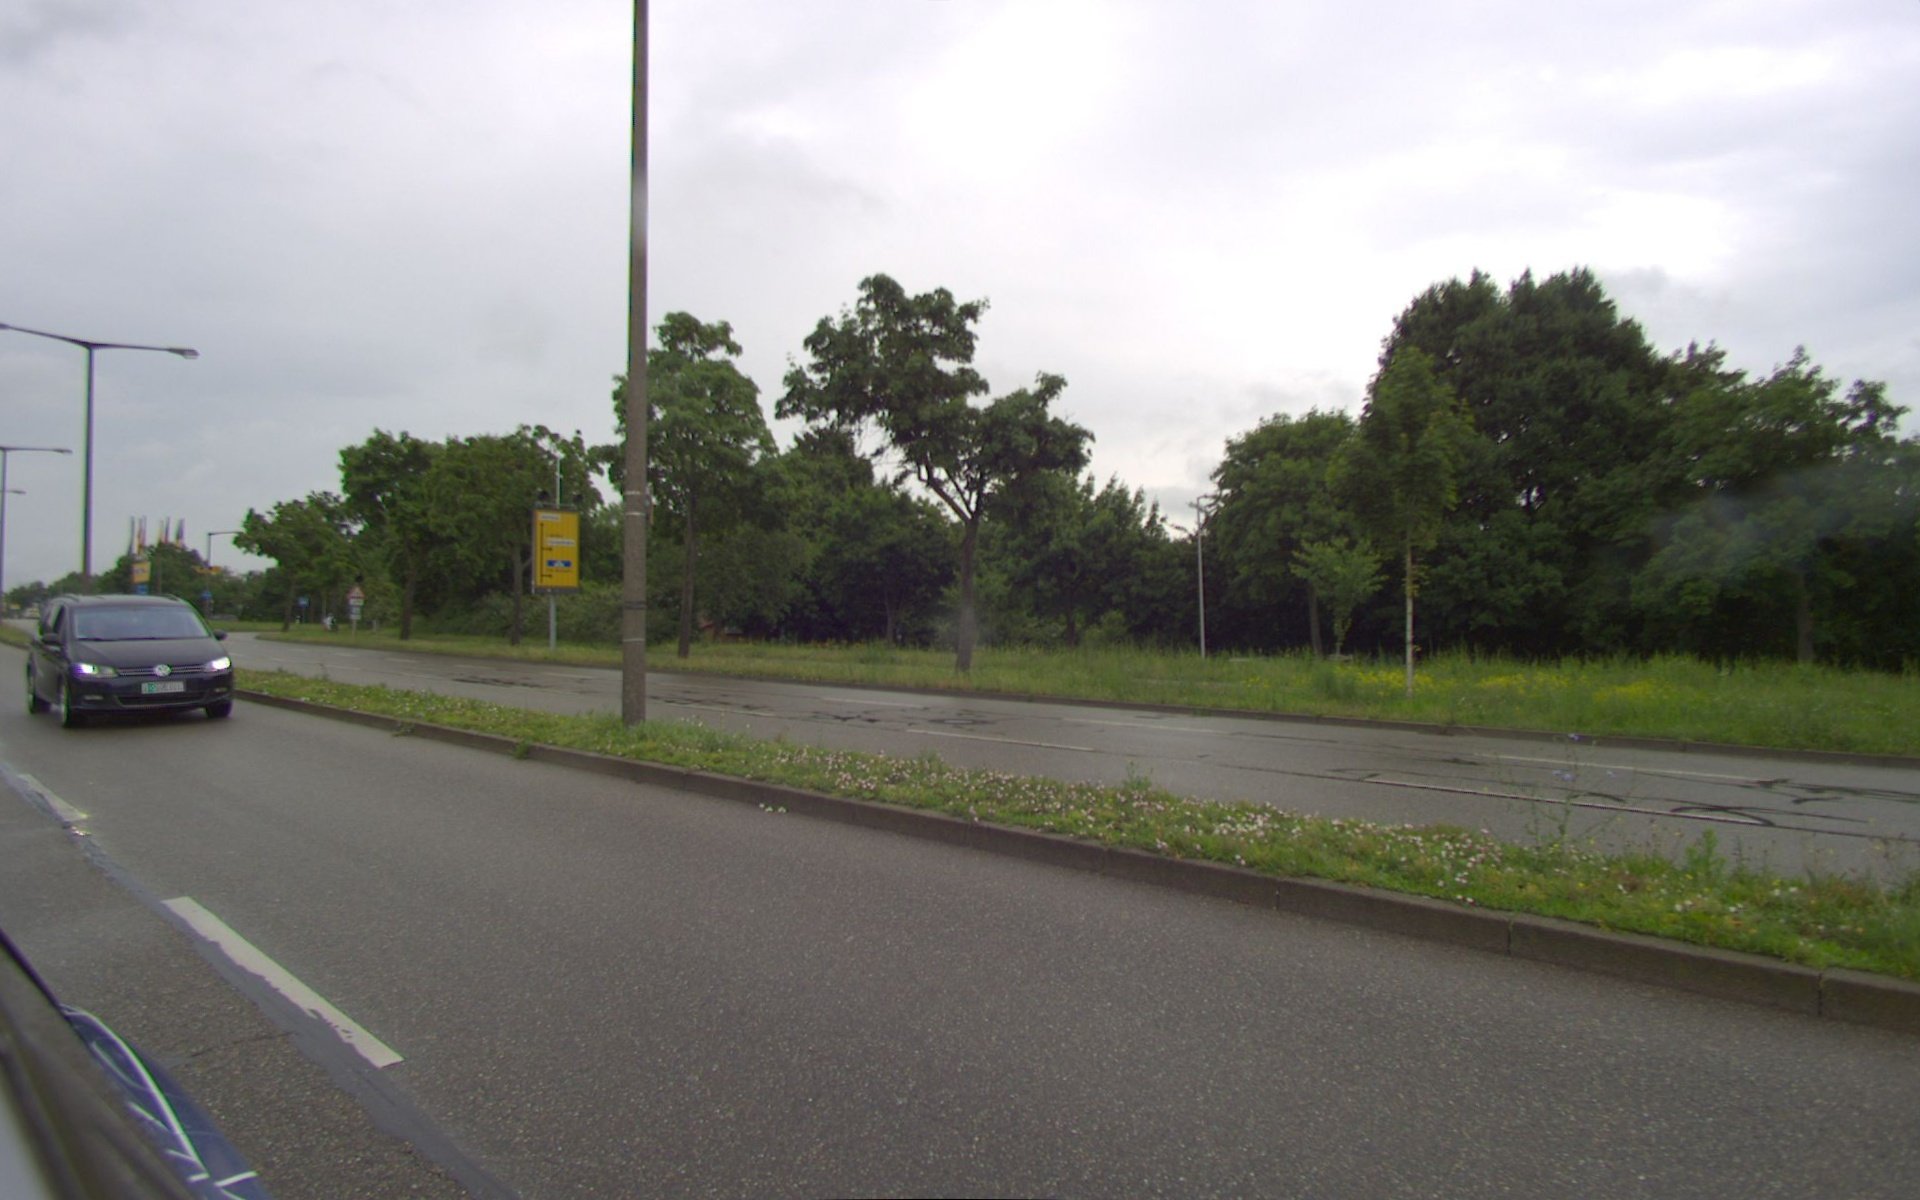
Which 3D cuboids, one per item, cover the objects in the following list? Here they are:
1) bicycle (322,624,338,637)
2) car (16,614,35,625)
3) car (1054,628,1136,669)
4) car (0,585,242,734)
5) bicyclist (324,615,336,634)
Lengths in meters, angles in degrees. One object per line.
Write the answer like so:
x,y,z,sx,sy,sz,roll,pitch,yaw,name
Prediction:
-43.205,2.071,69.401,1.634,0.892,0.516,0,-1,43,bicycle
-145.359,3.042,157.435,4.492,1.642,1.688,-3,-5,43,car
6.020,2.099,44.731,1.996,1.698,3.952,-1,-2,35,car
-11.945,0.763,14.277,4.814,1.764,1.827,-1,-2,40,car
-43.204,1.686,69.400,0.808,1.312,0.516,-1,-1,43,bicyclist
